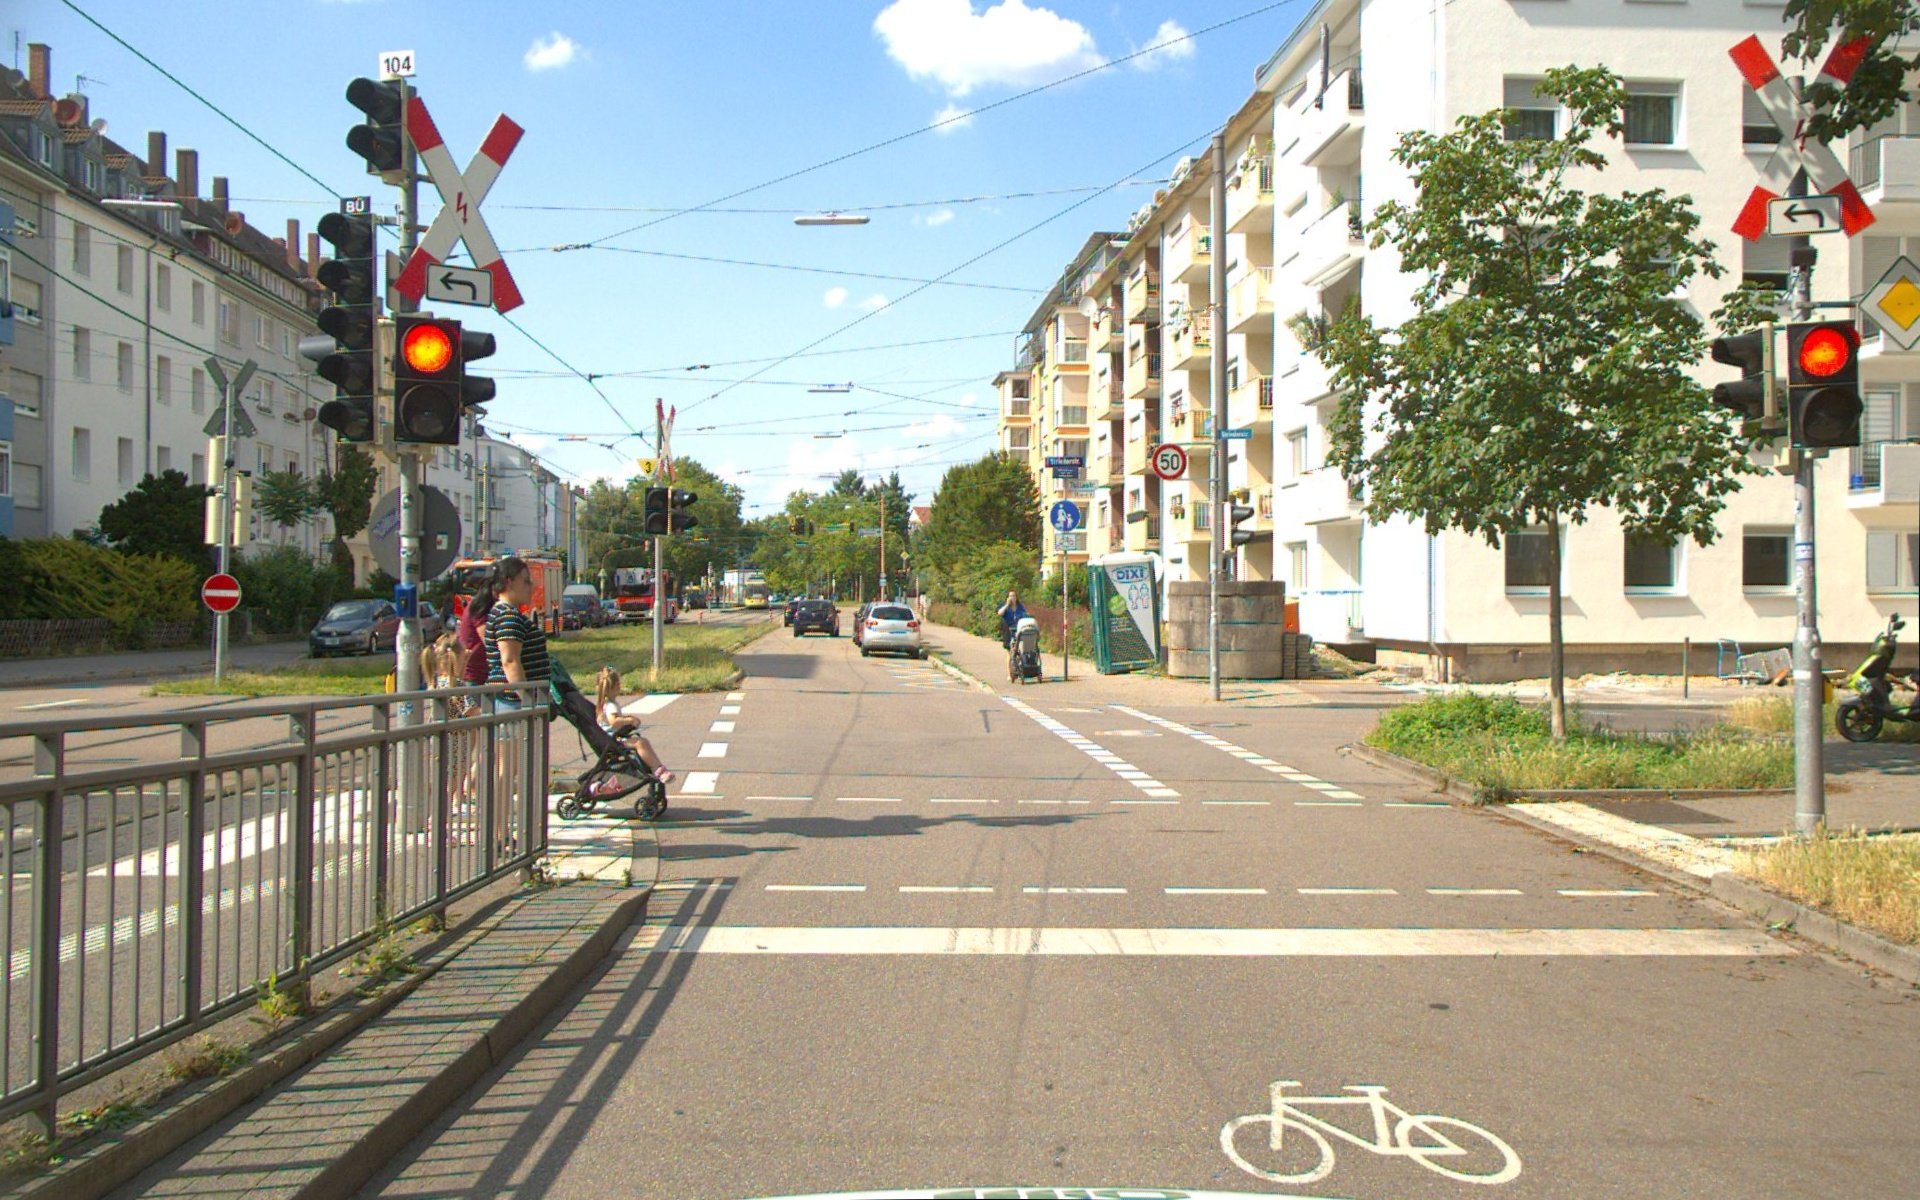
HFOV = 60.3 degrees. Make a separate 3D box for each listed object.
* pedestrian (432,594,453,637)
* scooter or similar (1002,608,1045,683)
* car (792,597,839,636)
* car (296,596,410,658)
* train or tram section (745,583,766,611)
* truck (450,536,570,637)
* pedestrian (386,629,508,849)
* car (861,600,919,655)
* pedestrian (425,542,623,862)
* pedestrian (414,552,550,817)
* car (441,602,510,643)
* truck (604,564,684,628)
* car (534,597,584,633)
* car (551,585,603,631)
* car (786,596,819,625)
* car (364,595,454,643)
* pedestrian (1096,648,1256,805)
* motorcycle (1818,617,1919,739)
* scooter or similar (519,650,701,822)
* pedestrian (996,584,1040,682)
[{"bbox_3d":[-21.976,0.648,70.293,0.692,1.825,0.863,0,0,-7],"label":"pedestrian"},{"bbox_3d":[1.188,0.847,31.080,0.649,1.326,0.868,-3,0,-4],"label":"scooter or similar"},{"bbox_3d":[-5.942,0.666,68.265,1.709,1.533,3.998,2,0,-3],"label":"car"},{"bbox_3d":[-17.604,0.766,48.178,1.954,1.674,3.998,2,0,-3],"label":"car"},{"bbox_3d":[-23.000,-0.346,186.210,2.215,3.122,8.122,0,0,-6],"label":"train or tram section"},{"bbox_3d":[-15.625,-0.402,58.057,2.546,3.241,8.373,1,0,-5],"label":"truck"},{"bbox_3d":[-2.990,0.775,9.610,0.627,1.201,0.794,0,-1,-21],"label":"pedestrian"},{"bbox_3d":[-2.054,0.788,48.224,1.590,1.490,3.508,2,0,-3],"label":"car"},{"bbox_3d":[-2.470,0.544,9.366,0.840,1.697,0.787,0,-1,-39],"label":"pedestrian"},{"bbox_3d":[-3.145,0.547,10.932,0.692,1.677,0.636,2,-1,-5],"label":"pedestrian"},{"bbox_3d":[-18.754,0.857,64.137,1.733,1.467,3.996,2,0,-4],"label":"car"},{"bbox_3d":[-18.635,-0.192,98.210,2.612,3.531,10.167,1,0,0],"label":"truck"},{"bbox_3d":[-20.562,0.747,84.885,1.873,1.741,3.996,2,0,-5],"label":"car"},{"bbox_3d":[-21.103,0.460,91.316,1.929,2.412,5.197,1,0,-4],"label":"car"},{"bbox_3d":[-8.816,0.578,92.746,1.709,1.533,3.997,2,0,-4],"label":"car"},{"bbox_3d":[-18.001,0.627,54.186,1.733,1.467,3.998,2,0,-3],"label":"car"},{"bbox_3d":[3.169,1.813,25.024,1.952,2.049,4.001,1,-1,1],"label":"pedestrian"},{"bbox_3d":[10.219,0.820,17.613,0.565,1.236,1.826,-5,1,-32],"label":"motorcycle"},{"bbox_3d":[-2.313,0.894,11.035,1.078,1.074,0.650,1,-1,-4],"label":"scooter or similar"},{"bbox_3d":[1.118,0.619,31.931,0.687,1.820,1.029,-3,0,-2],"label":"pedestrian"}]
